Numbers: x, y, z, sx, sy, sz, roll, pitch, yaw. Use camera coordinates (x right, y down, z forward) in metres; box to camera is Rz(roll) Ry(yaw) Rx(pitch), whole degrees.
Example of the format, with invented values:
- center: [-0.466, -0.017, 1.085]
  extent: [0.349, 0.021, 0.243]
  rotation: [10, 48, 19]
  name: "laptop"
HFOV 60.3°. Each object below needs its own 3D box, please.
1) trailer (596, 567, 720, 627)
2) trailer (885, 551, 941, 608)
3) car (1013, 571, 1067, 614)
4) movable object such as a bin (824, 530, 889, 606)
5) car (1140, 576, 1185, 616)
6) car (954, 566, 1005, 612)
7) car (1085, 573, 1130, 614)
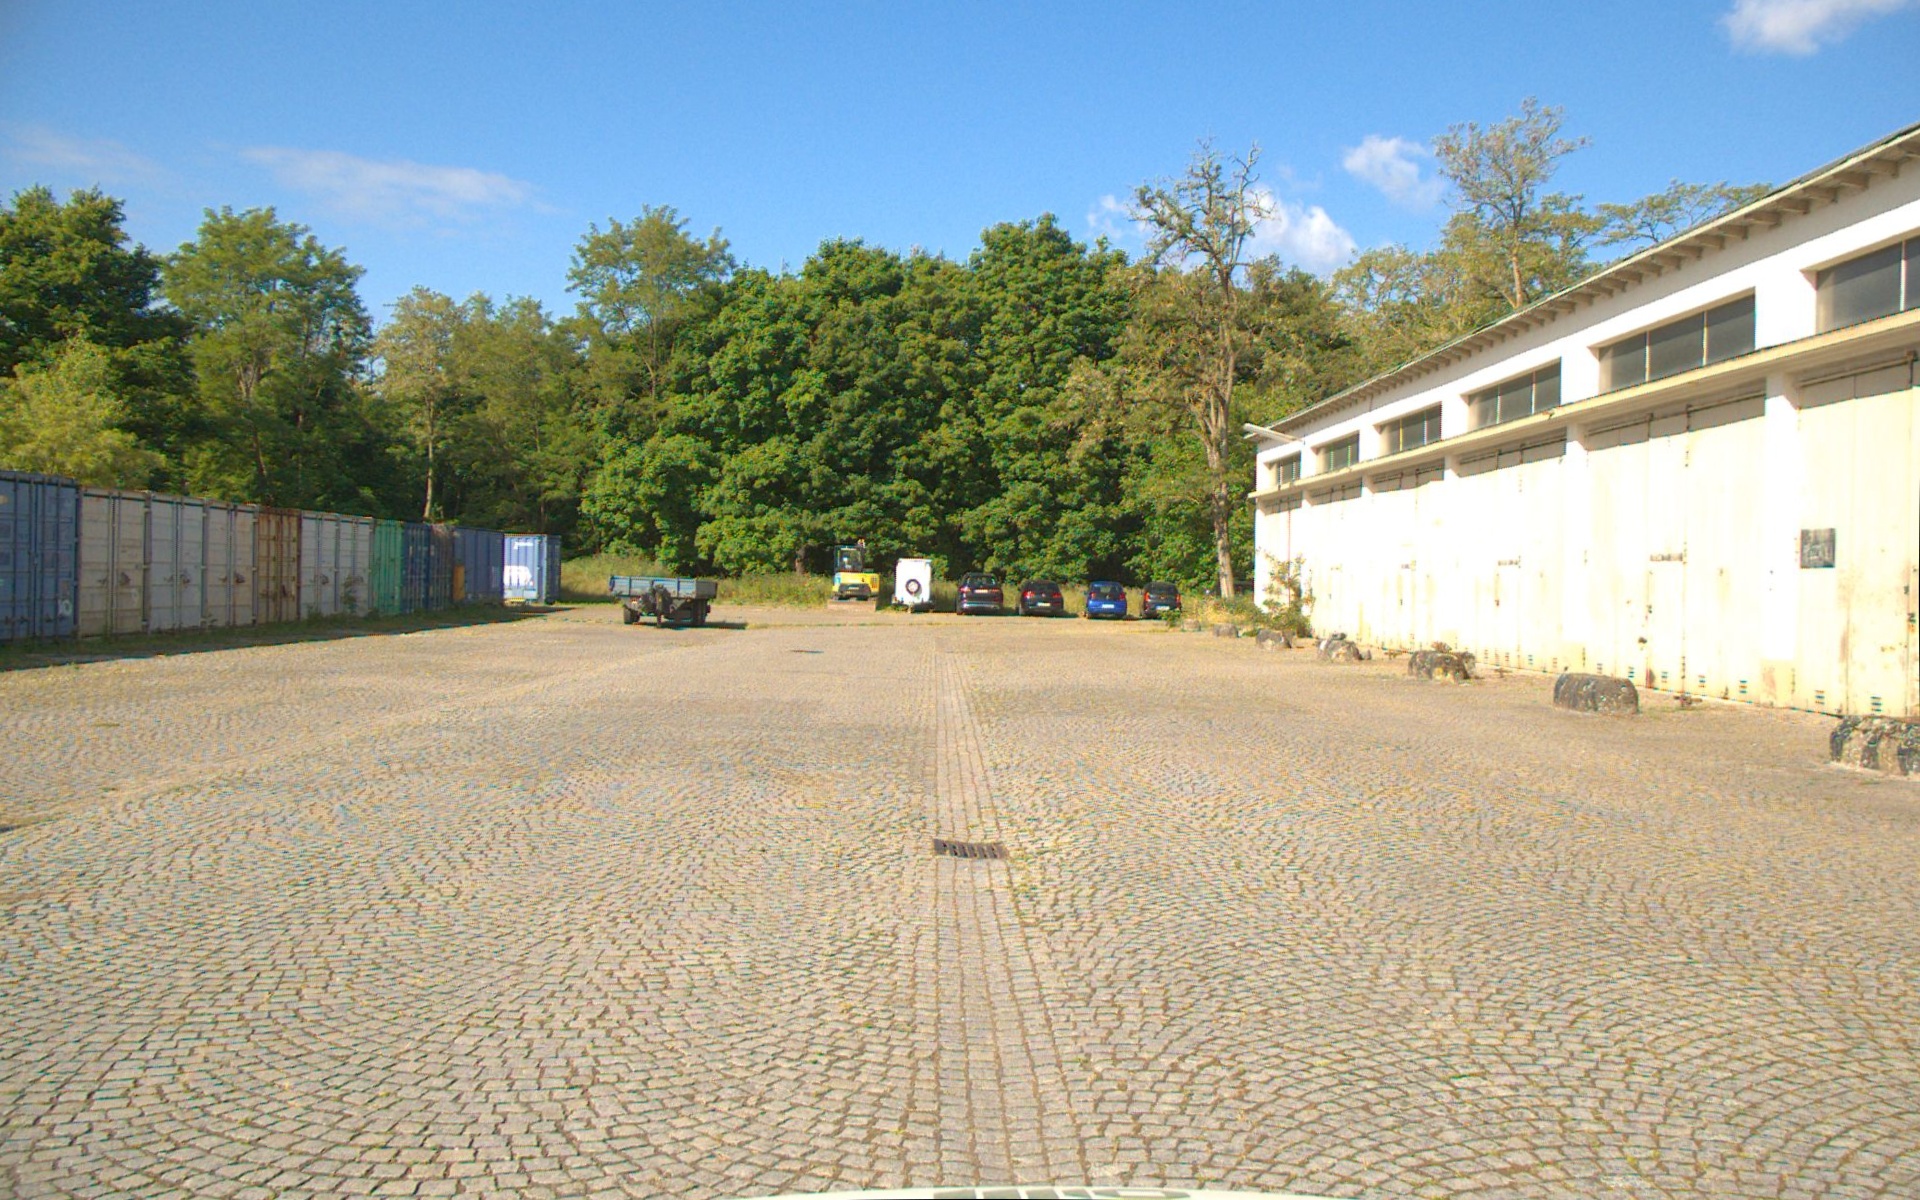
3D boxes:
- center: [-8.677, -0.134, 48.180]
  extent: [2.651, 1.491, 6.245]
  rotation: [2, 1, -2]
  name: "trailer"
- center: [-1.925, -0.889, 68.407]
  extent: [2.149, 2.131, 5.750]
  rotation: [2, 2, -1]
  name: "trailer"
- center: [3.187, -0.325, 66.509]
  extent: [1.826, 1.495, 4.295]
  rotation: [2, 2, -1]
  name: "car"
- center: [-4.256, -1.377, 68.947]
  extent: [2.259, 2.946, 5.751]
  rotation: [2, 2, 0]
  name: "movable object such as a bin"
- center: [8.278, -0.205, 67.965]
  extent: [1.707, 1.461, 4.186]
  rotation: [3, 2, 6]
  name: "car"
- center: [0.757, -0.474, 66.088]
  extent: [1.826, 1.616, 4.295]
  rotation: [2, 2, -1]
  name: "car"
- center: [5.900, -0.273, 66.504]
  extent: [1.707, 1.461, 4.186]
  rotation: [3, 2, 4]
  name: "car"
